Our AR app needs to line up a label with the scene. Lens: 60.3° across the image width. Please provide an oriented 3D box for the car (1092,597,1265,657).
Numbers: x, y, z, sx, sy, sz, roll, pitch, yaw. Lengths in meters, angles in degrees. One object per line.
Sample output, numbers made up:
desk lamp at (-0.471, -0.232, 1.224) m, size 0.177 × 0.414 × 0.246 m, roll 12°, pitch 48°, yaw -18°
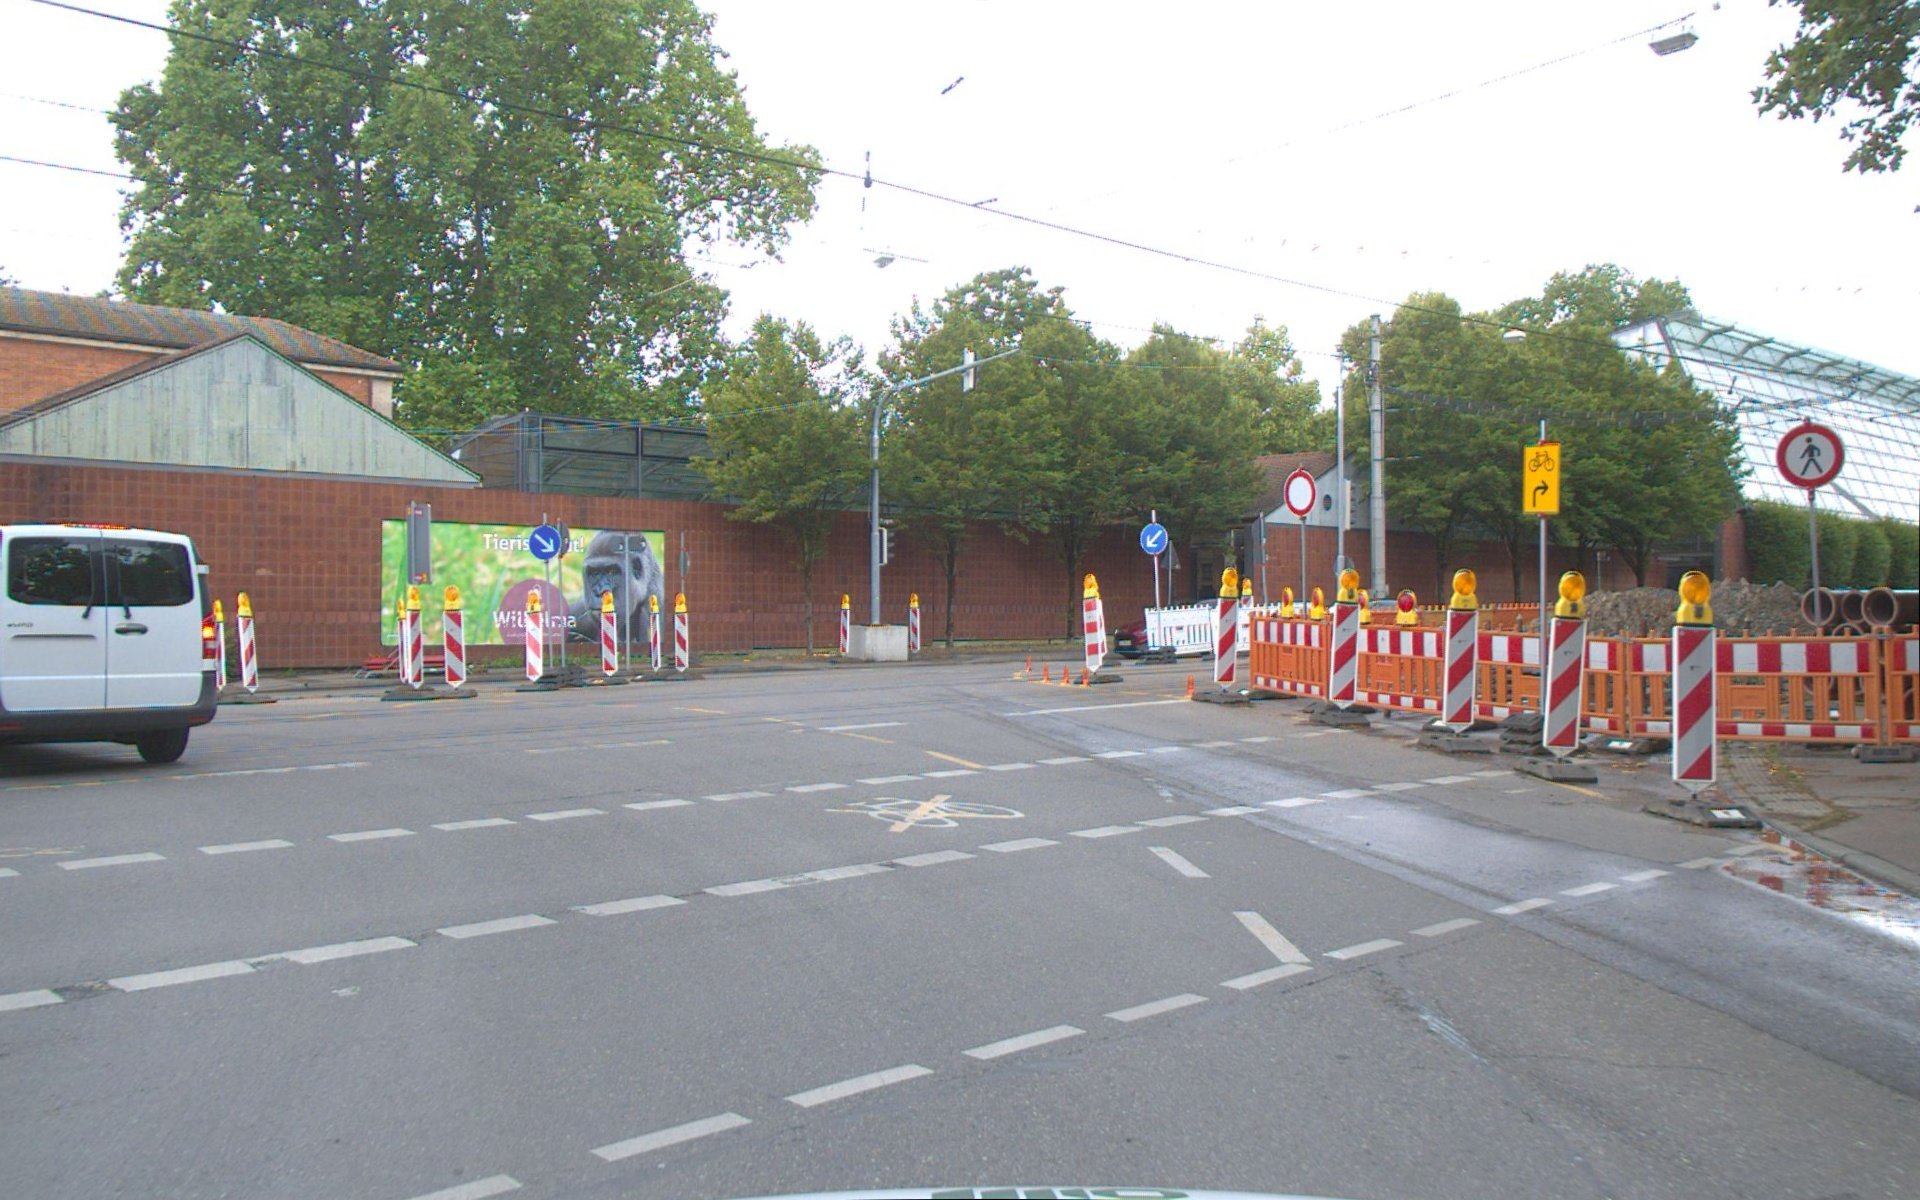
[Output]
car at (5.752, 0.704, 43.317) m, size 4.407 × 1.468 × 1.857 m, roll 0°, pitch -2°, yaw -36°

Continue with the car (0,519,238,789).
car at (-8.091, 0.392, 13.975) m, size 4.617 × 1.934 × 1.912 m, roll -1°, pitch 1°, yaw 42°

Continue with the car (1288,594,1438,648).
car at (11.658, 0.619, 47.779) m, size 4.407 × 1.468 × 1.781 m, roll 0°, pitch -2°, yaw -36°
